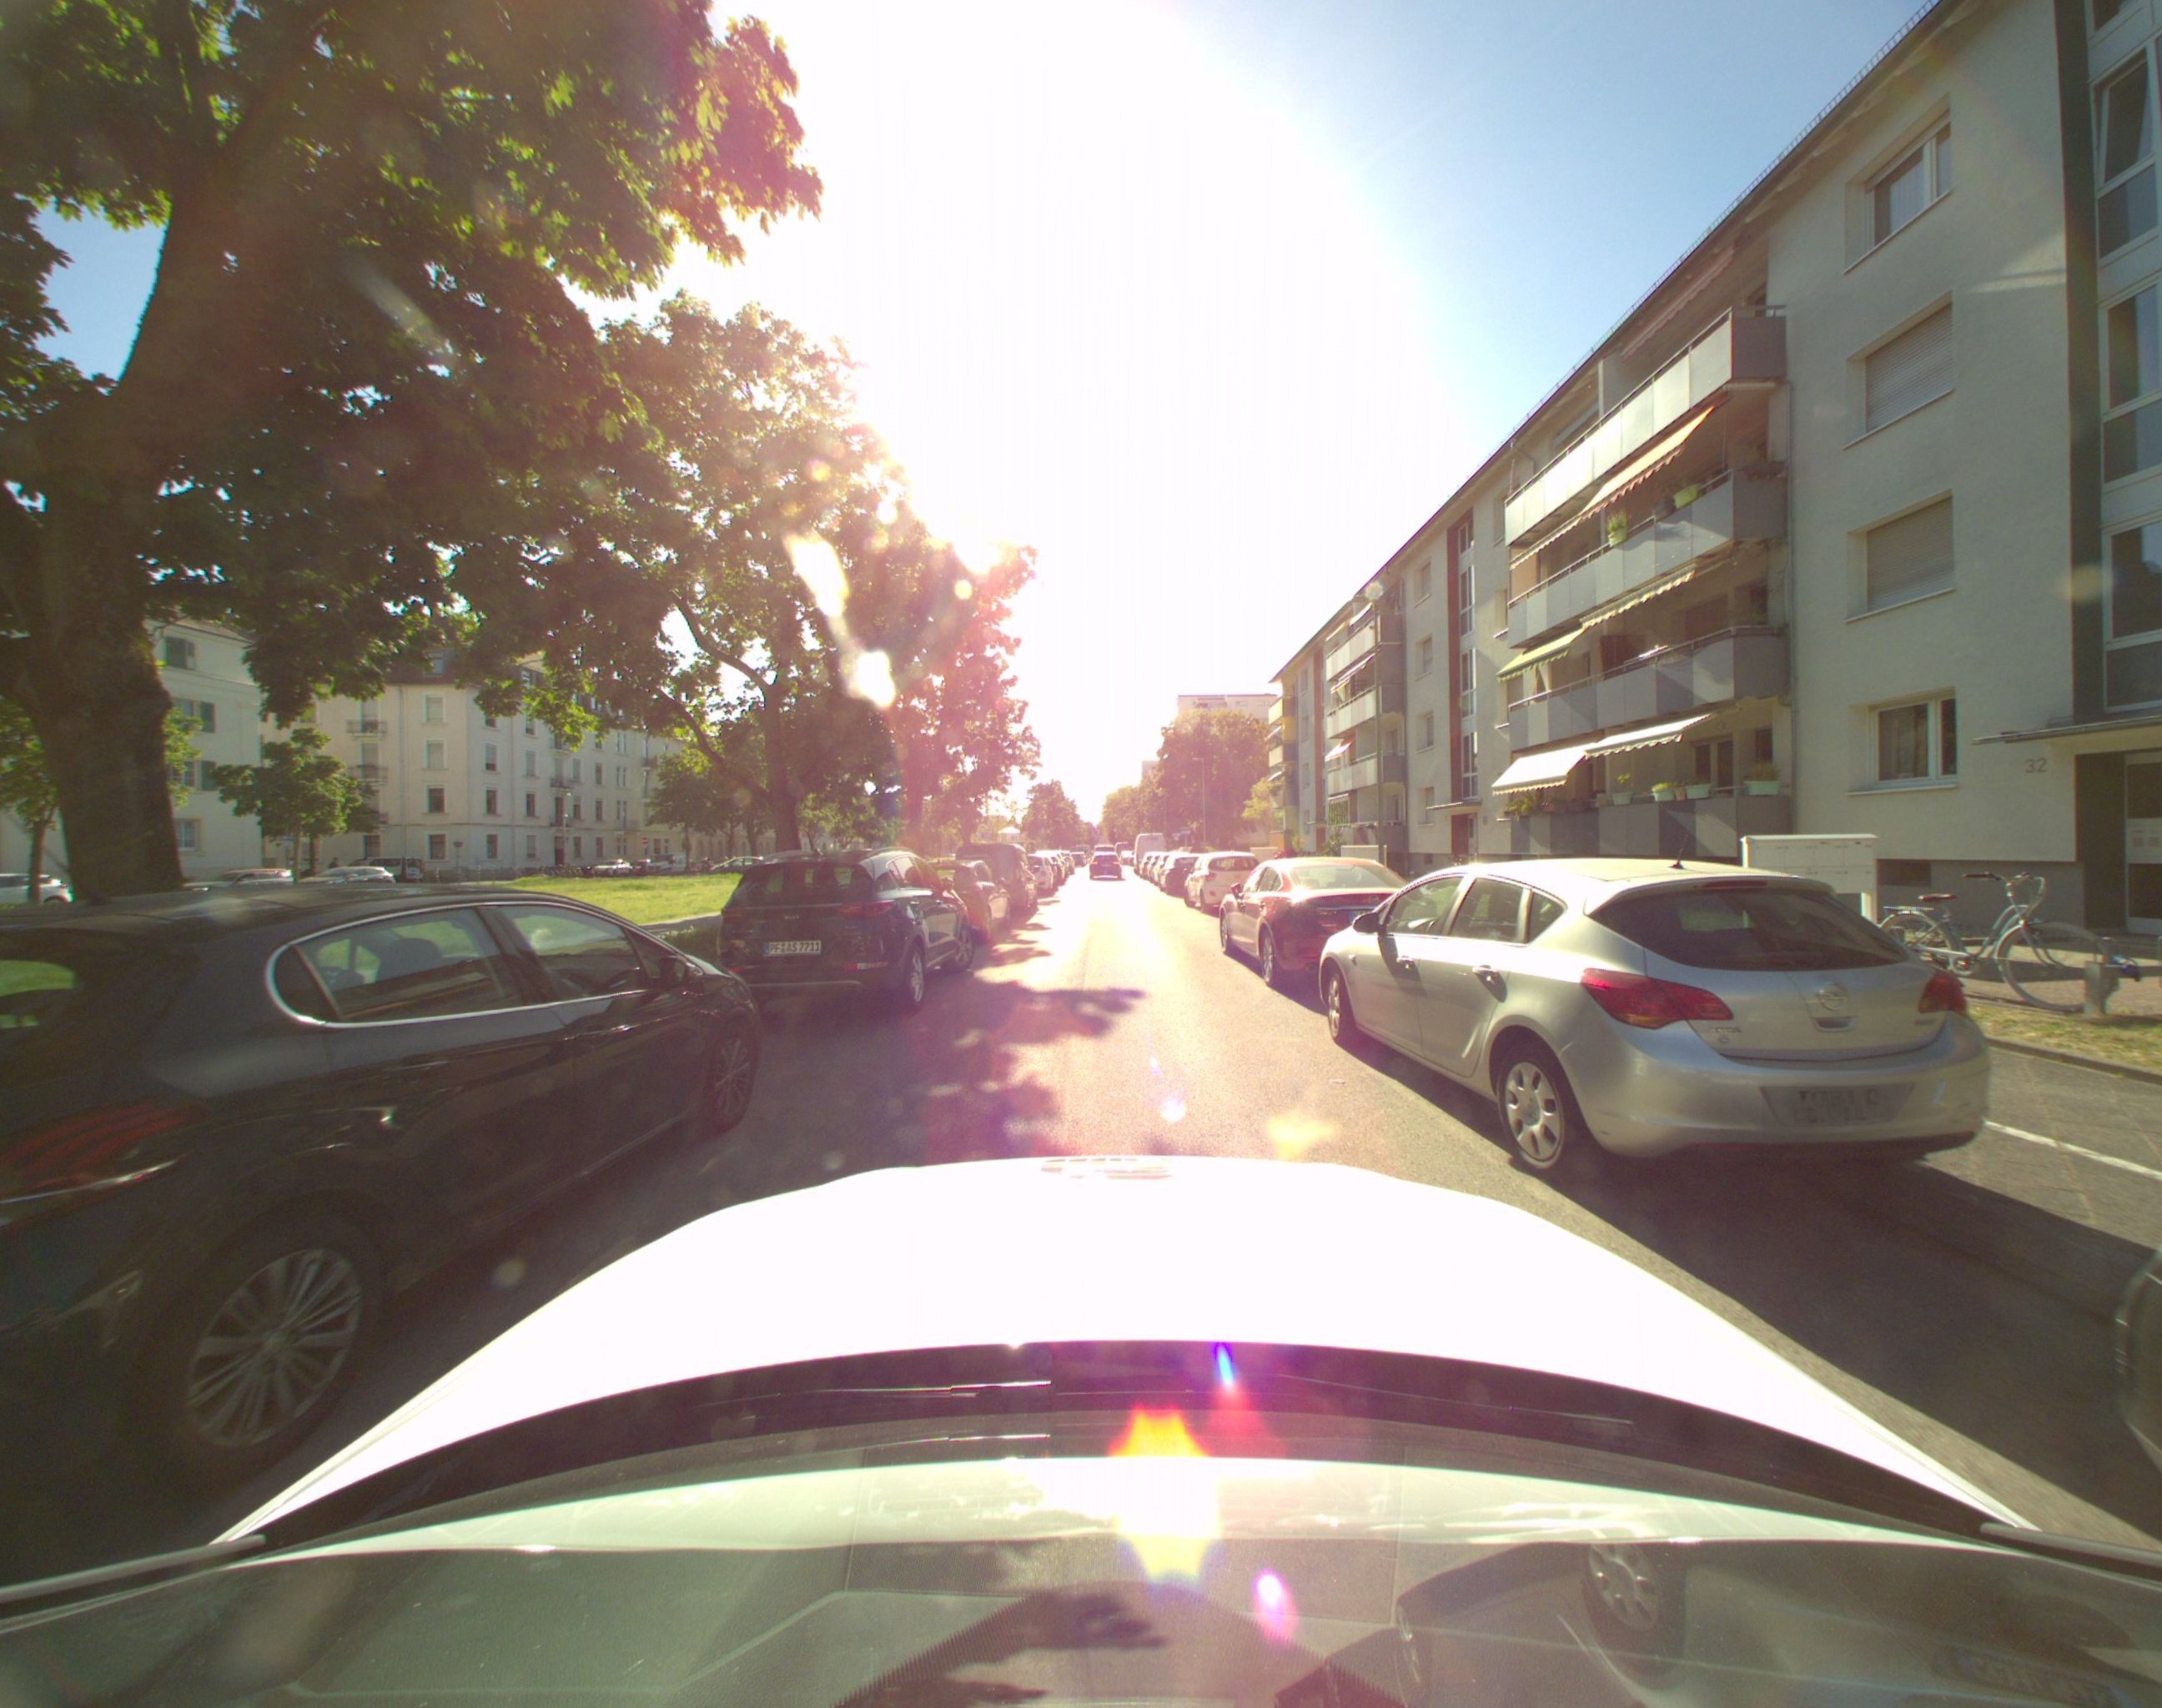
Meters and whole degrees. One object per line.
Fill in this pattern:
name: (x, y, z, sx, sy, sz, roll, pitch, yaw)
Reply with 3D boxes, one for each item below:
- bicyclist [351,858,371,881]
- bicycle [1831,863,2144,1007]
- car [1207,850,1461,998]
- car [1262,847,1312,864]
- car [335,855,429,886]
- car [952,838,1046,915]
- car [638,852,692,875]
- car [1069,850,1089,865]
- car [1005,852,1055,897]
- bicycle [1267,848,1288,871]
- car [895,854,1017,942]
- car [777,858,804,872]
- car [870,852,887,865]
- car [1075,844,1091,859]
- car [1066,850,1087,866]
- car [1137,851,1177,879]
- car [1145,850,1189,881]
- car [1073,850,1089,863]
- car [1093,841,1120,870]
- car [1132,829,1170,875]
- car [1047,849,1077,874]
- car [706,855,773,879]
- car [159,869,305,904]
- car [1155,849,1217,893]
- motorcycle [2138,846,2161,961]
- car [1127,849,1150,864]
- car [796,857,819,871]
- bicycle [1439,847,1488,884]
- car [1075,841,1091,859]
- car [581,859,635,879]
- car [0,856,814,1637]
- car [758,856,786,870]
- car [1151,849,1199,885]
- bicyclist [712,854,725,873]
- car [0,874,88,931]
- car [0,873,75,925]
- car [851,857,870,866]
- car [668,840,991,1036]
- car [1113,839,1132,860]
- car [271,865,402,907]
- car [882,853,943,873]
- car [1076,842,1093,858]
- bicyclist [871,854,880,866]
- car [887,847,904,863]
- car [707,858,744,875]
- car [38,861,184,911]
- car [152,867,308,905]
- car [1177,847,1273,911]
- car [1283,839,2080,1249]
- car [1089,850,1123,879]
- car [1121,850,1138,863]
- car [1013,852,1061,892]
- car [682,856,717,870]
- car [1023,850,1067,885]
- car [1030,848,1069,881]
bicyclist: (-43.430, 0.917, 49.136, 0.530, 1.364, 0.785, -1, 0, -1)
bicycle: (7.847, 0.635, 7.217, 0.717, 1.077, 1.898, -1, 0, 3)
car: (2.954, 0.695, 10.787, 1.837, 1.472, 5.066, -1, 0, 1)
car: (17.592, 0.118, 69.647, 3.877, 1.429, 1.657, -1, 0, -3)
car: (-48.436, 1.112, 56.513, 4.550, 2.013, 2.139, -1, 0, -3)
car: (-2.057, 0.542, 21.802, 1.857, 1.784, 4.993, -1, 0, 1)
car: (-36.060, 0.818, 70.706, 2.075, 1.872, 5.096, -1, 0, -1)
car: (-0.170, 0.371, 84.441, 1.770, 1.495, 3.877, -3, 0, 2)
car: (-1.845, 0.723, 30.618, 1.581, 1.492, 3.685, -3, 0, 0)
bicycle: (10.290, 0.285, 42.666, 0.594, 1.176, 2.014, -1, -1, 0)
car: (-2.258, 0.737, 15.724, 1.532, 1.428, 4.090, -1, 0, 2)
car: (-35.264, 1.291, 98.979, 1.751, 1.549, 4.526, -1, 0, -1)
car: (-34.459, 0.791, 138.890, 1.689, 2.213, 5.006, -1, 0, -1)
car: (0.314, -0.359, 110.639, 2.091, 1.942, 4.128, -1, 0, 1)
car: (-0.396, 0.408, 79.922, 1.741, 1.425, 3.918, -3, -1, 2)
car: (4.236, 0.561, 45.788, 1.843, 1.466, 4.201, 0, 1, 0)
car: (4.270, 0.536, 41.099, 1.871, 1.475, 4.142, -1, 0, 2)
car: (0.061, 0.285, 102.173, 1.826, 1.500, 4.129, -1, 0, 2)
car: (1.909, 0.105, 60.258, 1.887, 1.991, 4.013, -3, 0, 3)
car: (4.535, -0.150, 53.756, 2.134, 2.713, 6.846, -3, 0, 3)
car: (-1.317, 0.474, 57.873, 1.749, 1.647, 4.290, -3, 0, 2)
car: (-24.799, 0.938, 59.244, 4.353, 1.576, 1.914, -2, 0, -23)
car: (-41.991, 1.549, 40.512, 1.987, 1.485, 4.959, -2, 0, 1)
car: (3.822, 0.589, 30.294, 1.694, 1.435, 4.471, -3, 0, 0)
motorcycle: (11.222, 0.490, 7.345, 0.582, 1.151, 2.032, -1, 0, -8)
car: (5.881, 0.271, 83.563, 2.117, 1.337, 4.509, -4, 0, 2)
car: (-35.117, 1.267, 104.533, 1.627, 1.686, 4.079, -1, 0, -1)
bicycle: (11.726, 0.332, 25.003, 0.521, 1.071, 2.010, -3, 0, 0)
car: (0.310, -0.543, 117.052, 2.090, 2.496, 4.129, -1, 0, 2)
car: (-41.318, 1.261, 71.270, 1.985, 1.586, 4.456, -1, 0, 3)
car: (-2.765, 0.758, 3.410, 1.873, 1.419, 3.805, -2, -1, 2)
car: (-35.144, 1.013, 92.799, 1.627, 1.549, 4.353, -1, 0, -1)
car: (4.053, 0.517, 35.724, 1.715, 1.435, 4.154, -1, 0, 1)
bicyclist: (-27.393, 0.710, 61.530, 0.880, 1.363, 0.618, 0, 3, -31)
car: (-36.833, 1.647, 27.133, 2.229, 1.820, 4.256, -1, 0, -1)
car: (-42.294, 1.772, 30.724, 2.146, 1.885, 5.160, -1, 0, 1)
car: (-34.843, 1.192, 128.610, 1.839, 1.440, 3.776, -1, 0, 1)
car: (-2.455, 0.719, 9.456, 2.018, 1.625, 4.760, -2, 0, 2)
car: (5.646, -0.602, 111.077, 2.157, 2.689, 5.413, -1, 0, -2)
car: (-36.528, 1.523, 40.162, 2.151, 1.820, 4.704, -1, 0, -1)
car: (-13.238, 0.688, 63.996, 4.353, 1.409, 1.906, -1, 2, -23)
car: (0.616, -0.730, 142.514, 2.606, 2.645, 6.118, -1, 0, 2)
bicyclist: (-31.249, 0.951, 123.680, 0.938, 1.837, 1.450, -2, -1, 1)
car: (-34.470, 0.172, 151.348, 1.910, 2.744, 5.622, -1, 0, -1)
car: (-35.508, 1.234, 81.388, 1.689, 1.561, 4.695, -1, 0, -1)
car: (-42.145, 1.317, 35.536, 1.659, 2.013, 3.897, -1, 0, 1)
car: (-39.291, 1.440, 37.835, 1.987, 1.485, 4.959, -2, 0, 1)
car: (3.726, 0.598, 21.711, 1.743, 1.499, 3.858, -2, 0, -2)
car: (2.909, 0.712, 5.399, 1.868, 1.533, 4.490, -1, 0, -2)
car: (1.411, 0.538, 44.842, 1.772, 1.531, 4.003, 0, 0, 3)
car: (5.297, 0.307, 89.529, 1.772, 1.371, 4.129, -1, 0, 2)
car: (-1.816, 0.710, 35.064, 1.750, 1.492, 4.667, -3, 0, 0)
car: (-35.593, 0.807, 76.081, 1.689, 1.279, 3.524, -1, 0, -1)
car: (-1.716, 0.633, 40.234, 1.867, 1.519, 4.470, -3, 0, 0)
car: (-1.686, 0.542, 45.265, 1.813, 1.610, 4.740, -3, 0, 1)
